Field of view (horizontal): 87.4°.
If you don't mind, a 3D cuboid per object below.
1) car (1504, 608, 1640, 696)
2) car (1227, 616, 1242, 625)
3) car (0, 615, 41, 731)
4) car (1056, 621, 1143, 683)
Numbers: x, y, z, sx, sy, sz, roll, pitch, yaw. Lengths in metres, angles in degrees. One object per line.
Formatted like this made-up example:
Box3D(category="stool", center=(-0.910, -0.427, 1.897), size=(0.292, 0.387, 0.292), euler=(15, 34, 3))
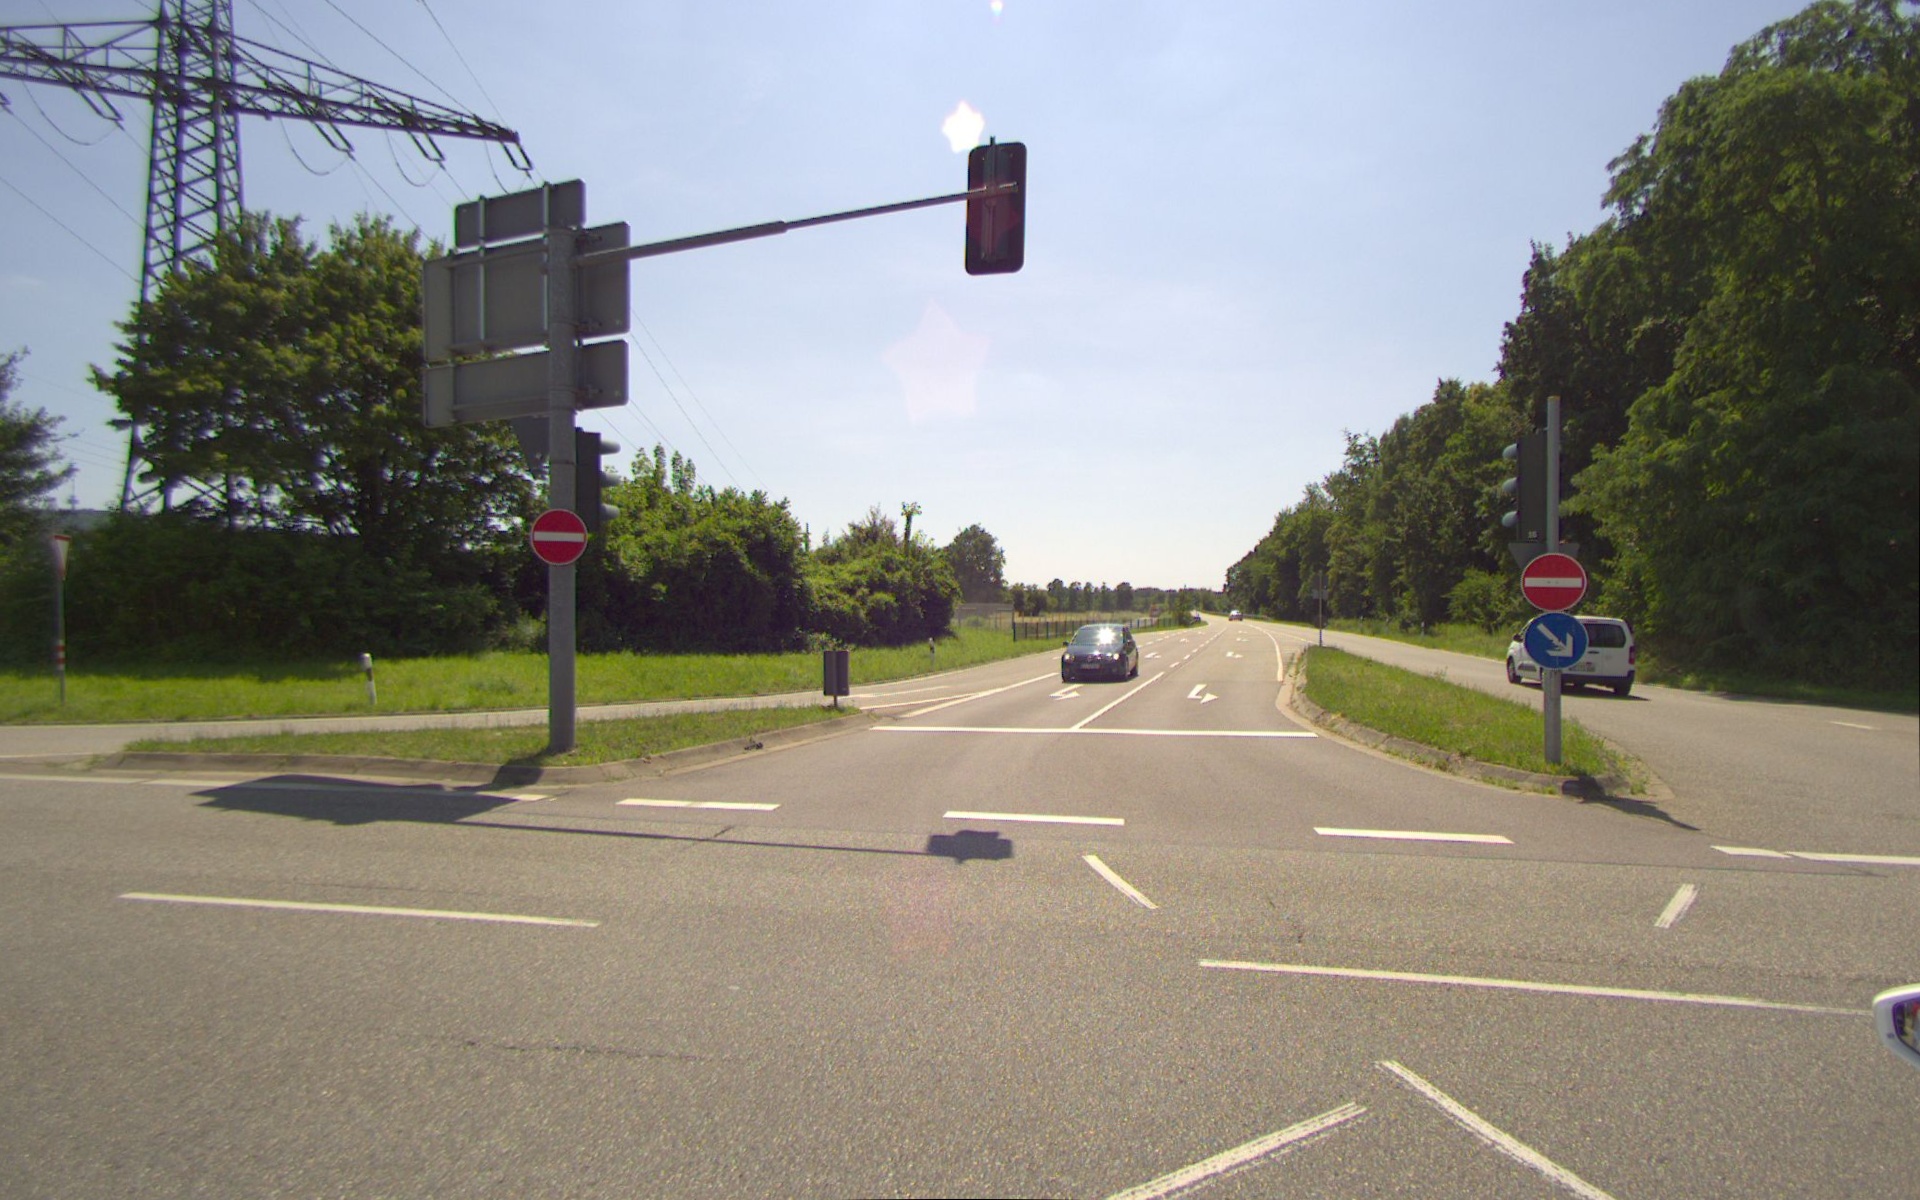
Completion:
Box3D(category="car", center=(14.913, 1.204, 24.722), size=(1.818, 1.850, 3.982), euler=(-1, 1, 15))
Box3D(category="car", center=(40.191, 2.995, 146.996), size=(1.960, 1.391, 4.784), euler=(0, -1, 14))
Box3D(category="car", center=(-15.435, 0.946, 13.110), size=(4.603, 1.596, 2.036), euler=(2, -2, -26))
Box3D(category="car", center=(3.904, 1.375, 27.610), size=(1.706, 1.552, 4.169), euler=(-3, -2, 16))
